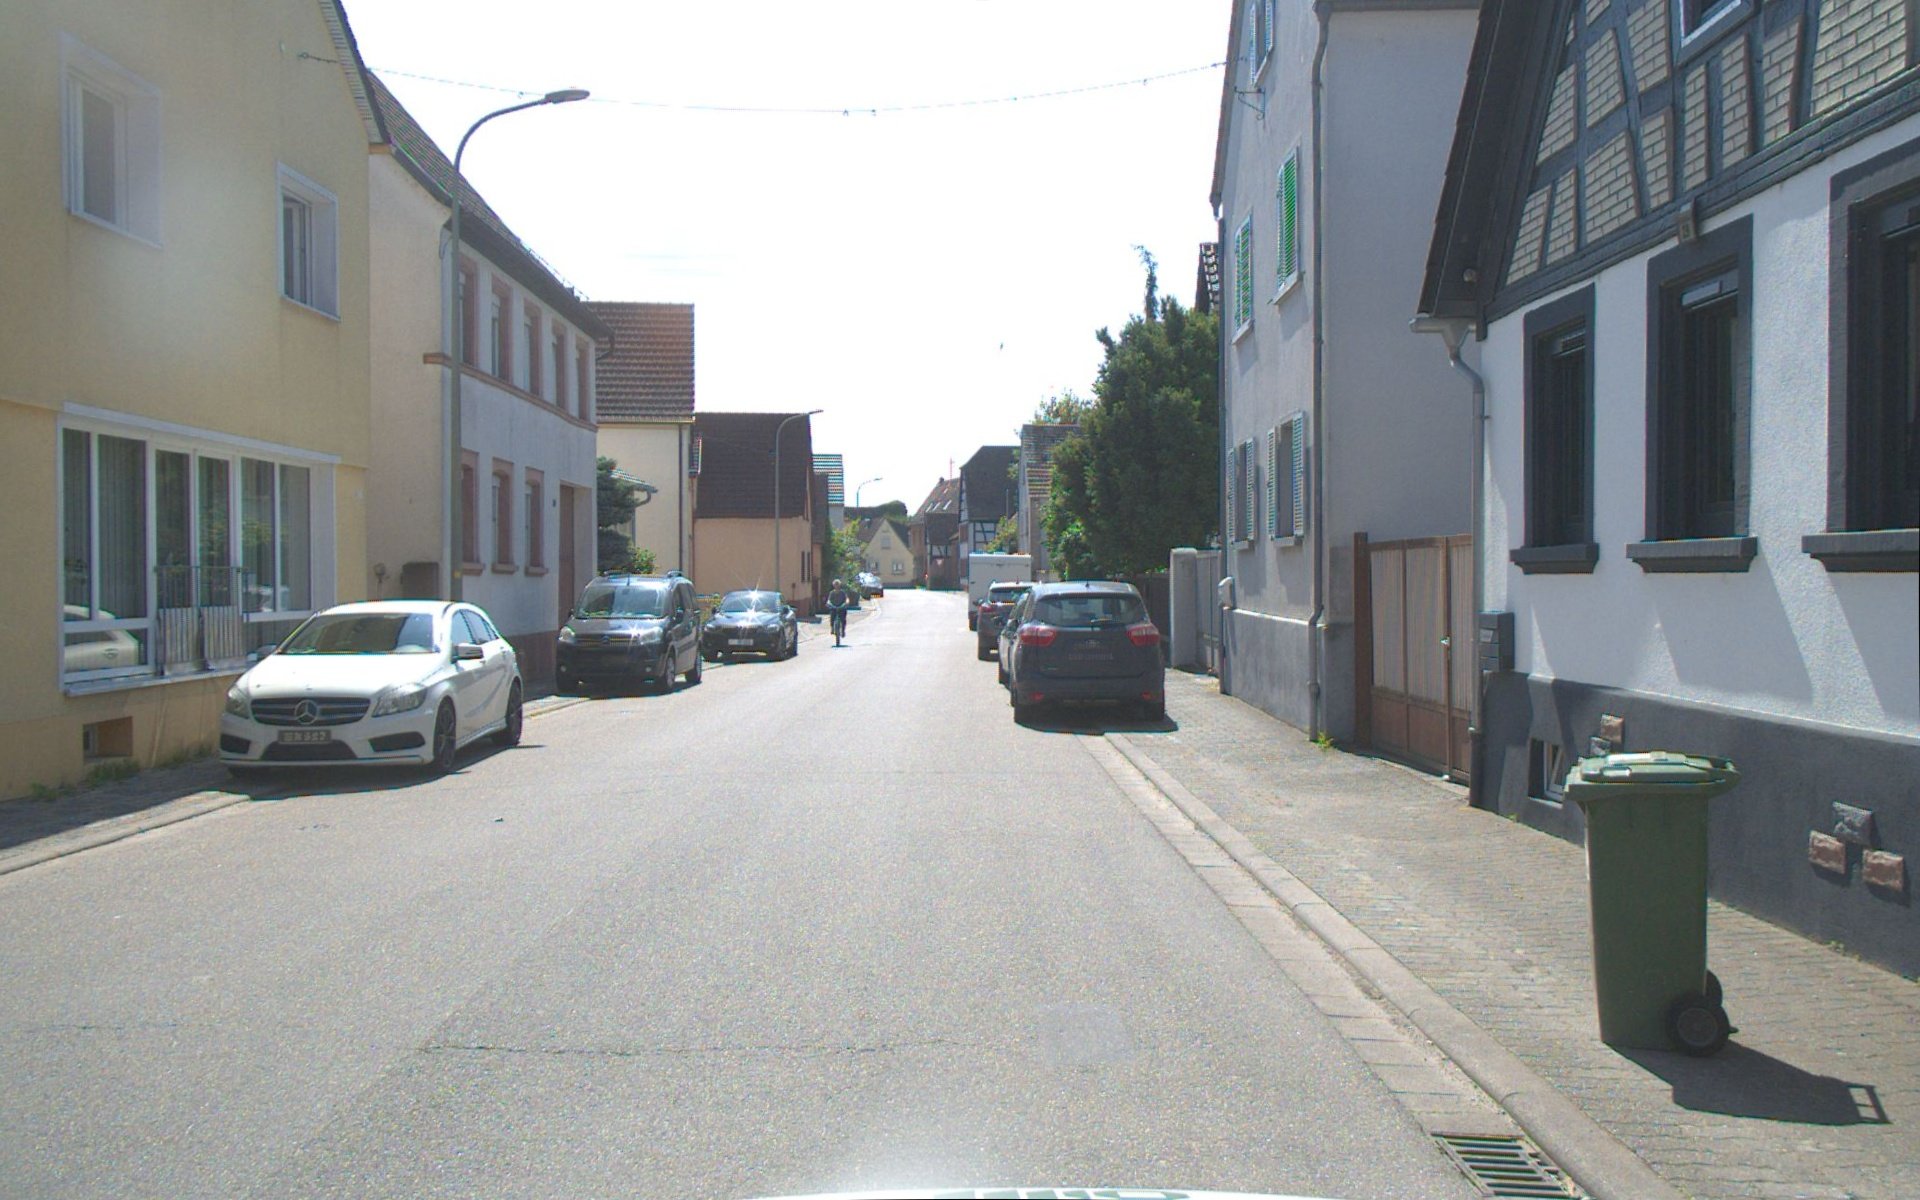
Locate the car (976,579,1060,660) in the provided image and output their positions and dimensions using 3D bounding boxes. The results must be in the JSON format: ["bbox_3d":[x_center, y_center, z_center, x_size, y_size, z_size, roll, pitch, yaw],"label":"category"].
[{"bbox_3d":[1.358,0.390,37.228,1.756,1.659,4.363,-1,1,3],"label":"car"}]

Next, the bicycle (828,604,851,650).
[{"bbox_3d":[-3.295,0.725,45.335,0.577,1.168,1.947,-1,1,-3],"label":"bicycle"}]

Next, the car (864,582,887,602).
[{"bbox_3d":[-6.281,-0.606,123.003,1.481,1.461,3.511,-1,1,0],"label":"car"}]

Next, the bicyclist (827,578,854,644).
[{"bbox_3d":[-3.288,0.295,45.556,0.690,1.802,0.624,-1,0,-4],"label":"bicyclist"}]

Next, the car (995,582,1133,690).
[{"bbox_3d":[1.540,0.497,26.111,1.782,1.535,4.580,-1,1,-1],"label":"car"}]

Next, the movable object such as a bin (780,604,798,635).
[{"bbox_3d":[-5.510,0.633,53.425,0.528,0.966,0.553,0,0,-1],"label":"movable object such as a bin"}]

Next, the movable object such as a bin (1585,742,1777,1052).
[{"bbox_3d":[2.434,0.980,5.628,0.526,0.929,0.552,0,0,17],"label":"movable object such as a bin"}]

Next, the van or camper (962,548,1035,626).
[{"bbox_3d":[1.375,-0.482,61.214,2.470,2.744,4.554,-1,0,-1],"label":"van or camper"}]

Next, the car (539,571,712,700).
[{"bbox_3d":[-5.254,0.497,26.540,1.797,1.869,4.354,-1,1,1],"label":"car"}]

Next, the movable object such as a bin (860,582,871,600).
[{"bbox_3d":[-6.381,-0.598,111.972,0.674,1.206,0.714,-1,0,0],"label":"movable object such as a bin"}]

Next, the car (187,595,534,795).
[{"bbox_3d":[-5.239,0.735,15.092,1.798,1.489,4.268,-1,1,-3],"label":"car"}]

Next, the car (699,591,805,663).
[{"bbox_3d":[-4.775,0.570,38.566,1.806,1.553,4.765,0,1,1],"label":"car"}]

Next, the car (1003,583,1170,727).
[{"bbox_3d":[1.472,0.591,20.756,1.760,1.587,4.631,-1,0,0],"label":"car"}]
